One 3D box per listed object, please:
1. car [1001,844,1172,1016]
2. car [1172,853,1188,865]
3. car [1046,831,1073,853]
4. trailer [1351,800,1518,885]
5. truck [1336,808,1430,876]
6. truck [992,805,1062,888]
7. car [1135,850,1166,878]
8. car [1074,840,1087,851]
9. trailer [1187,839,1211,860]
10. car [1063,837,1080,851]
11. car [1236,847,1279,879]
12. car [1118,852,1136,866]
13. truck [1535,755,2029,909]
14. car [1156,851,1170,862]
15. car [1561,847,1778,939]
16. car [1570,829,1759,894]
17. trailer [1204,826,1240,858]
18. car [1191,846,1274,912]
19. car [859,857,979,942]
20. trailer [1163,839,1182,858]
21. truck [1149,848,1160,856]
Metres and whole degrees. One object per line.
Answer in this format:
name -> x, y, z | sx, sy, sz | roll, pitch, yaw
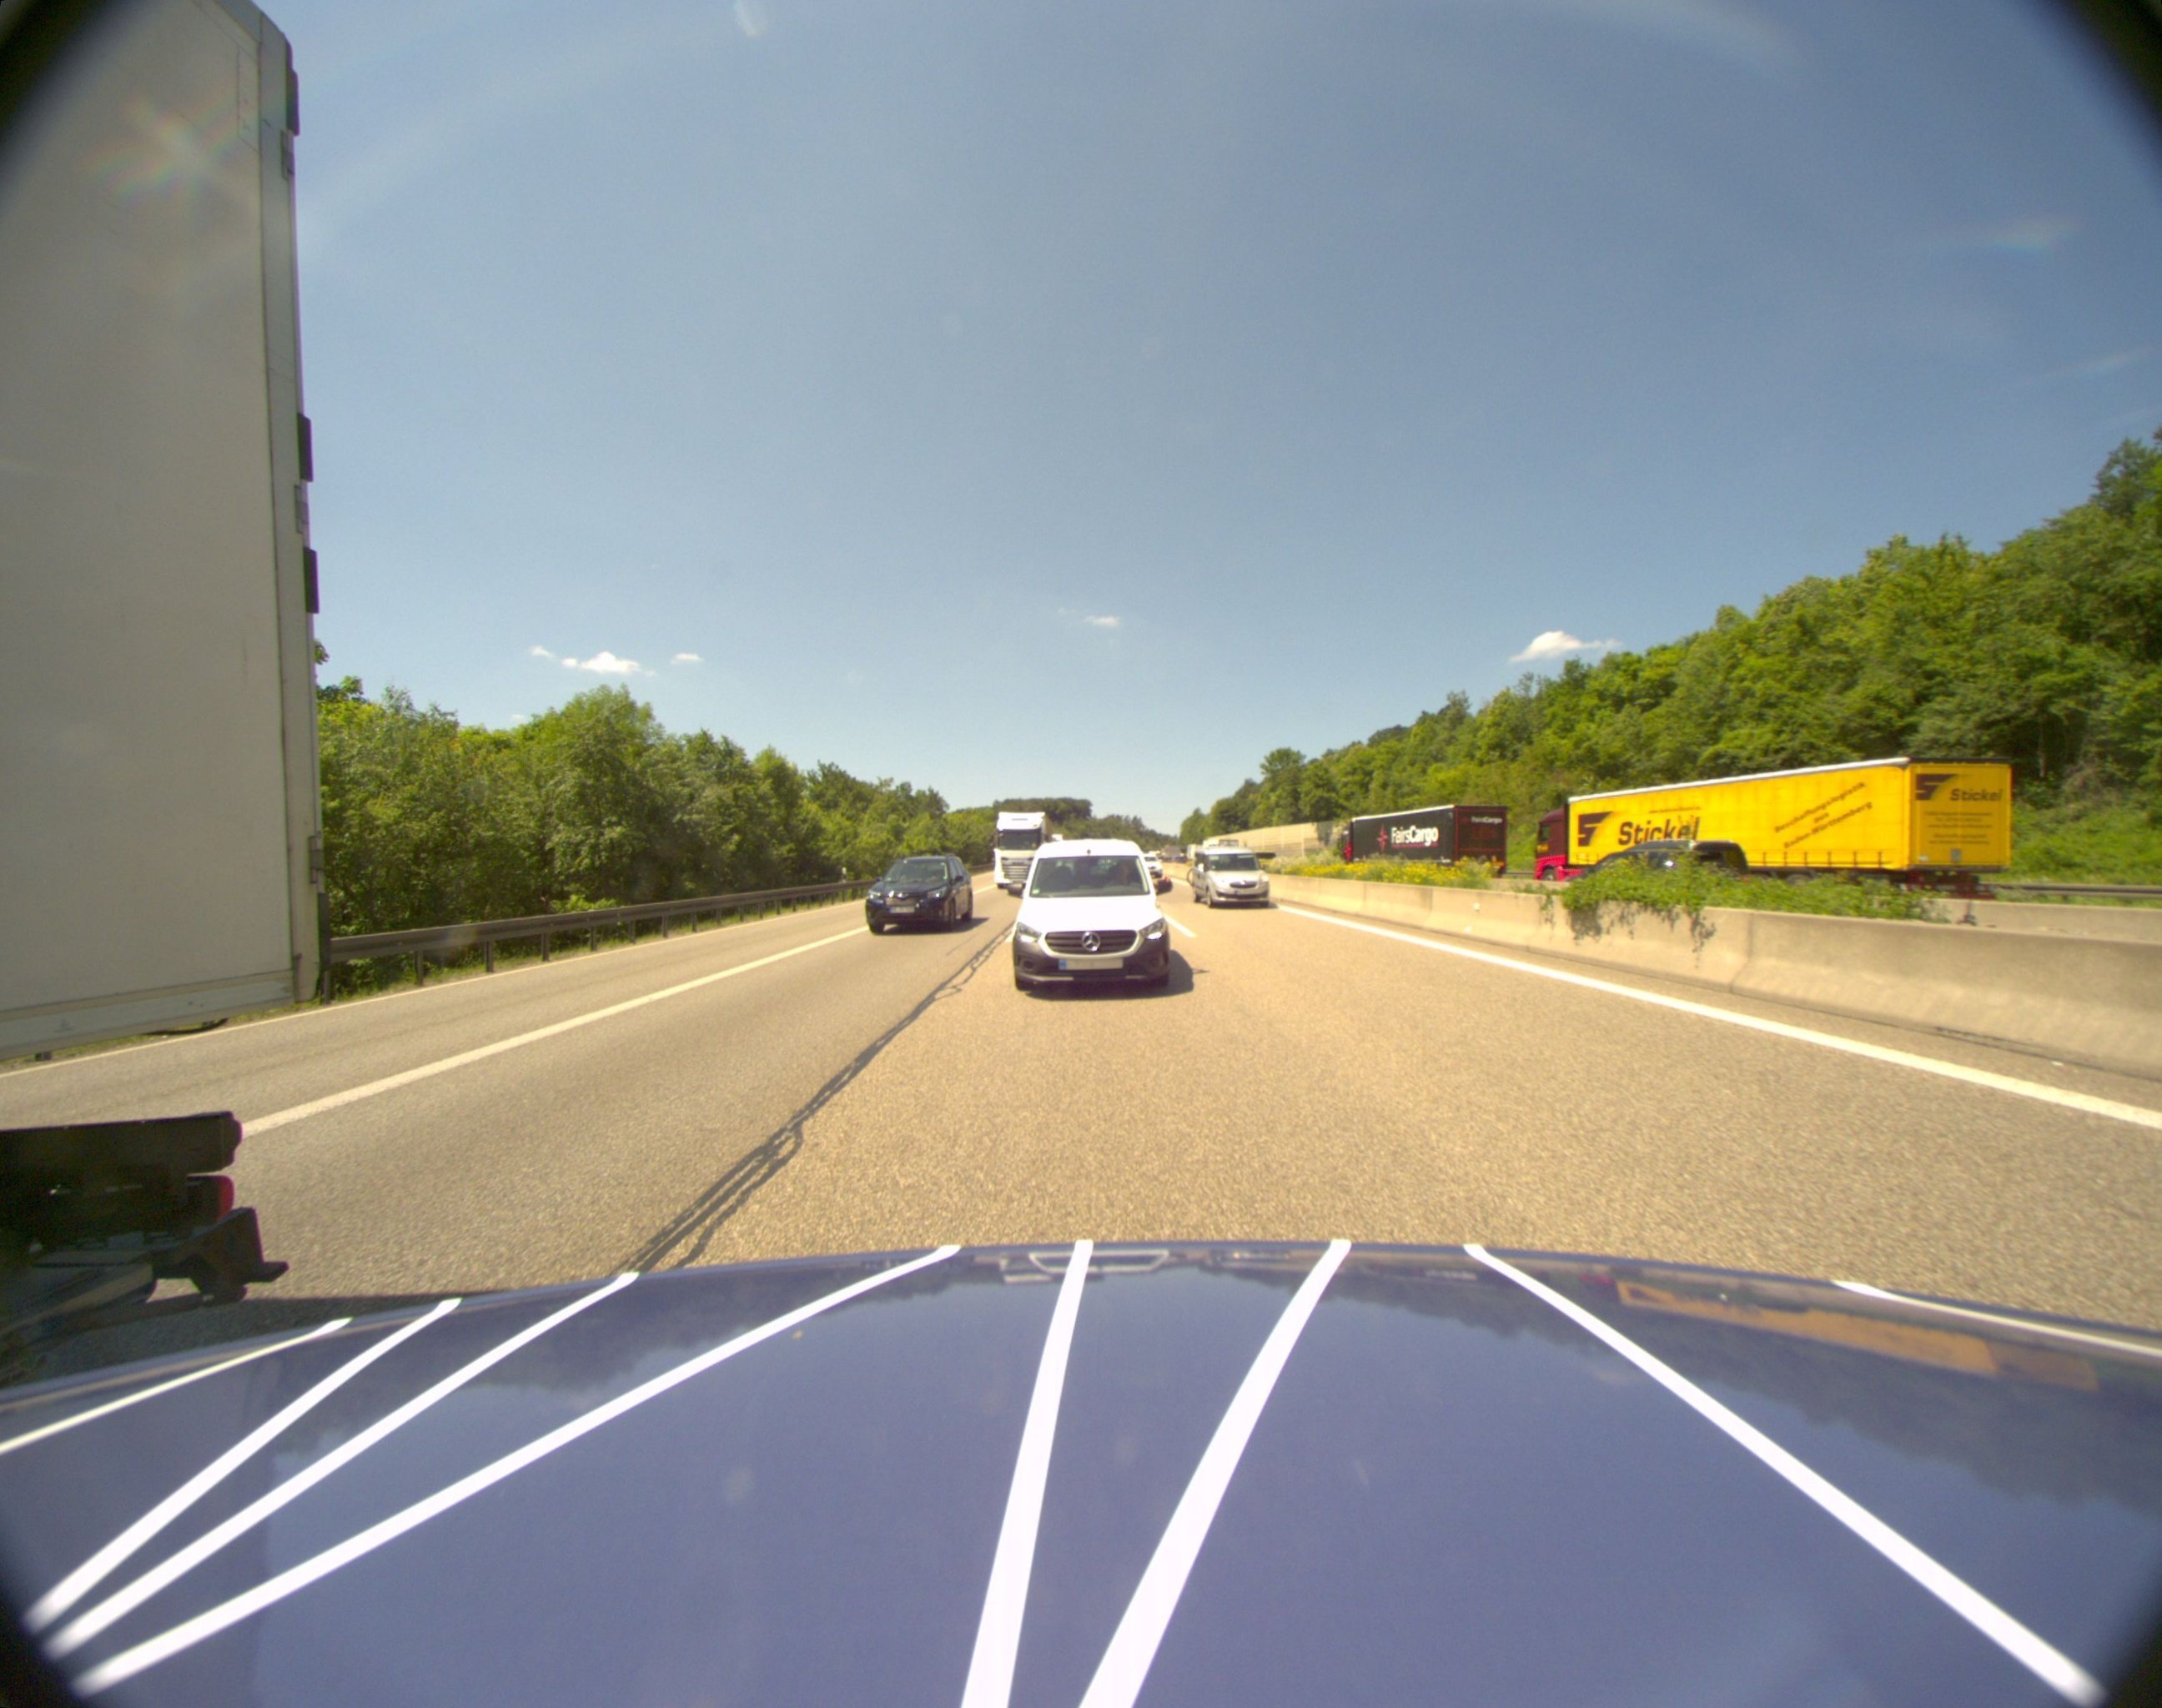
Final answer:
car -> 0.126, 0.785, 10.028 | 1.729, 1.760, 4.313 | -1, 0, 2
car -> 12.710, 0.688, 97.472 | 1.567, 1.510, 4.000 | 0, 0, 0
car -> -2.454, -1.398, 88.747 | 2.721, 2.534, 5.941 | 1, 1, 3
trailer -> 19.095, -0.643, 42.735 | 2.913, 3.951, 13.886 | 1, 1, 0
truck -> 19.162, -0.755, 48.867 | 2.913, 3.951, 7.767 | 1, 1, 0
truck -> -2.967, -0.415, 46.797 | 2.790, 4.144, 16.267 | -1, 0, 1
car -> 4.854, 0.647, 53.396 | 1.998, 1.827, 4.001 | 1, 1, 3
car -> -0.120, -2.041, 181.071 | 2.721, 2.534, 5.941 | 1, 1, 3
trailer -> 24.000, -1.013, 155.393 | 2.814, 4.024, 12.624 | 1, 1, 0
car -> -1.645, -1.845, 140.975 | 2.721, 2.534, 5.941 | 1, 1, 3
car -> 11.938, 0.562, 51.683 | 1.884, 2.002, 4.468 | 2, 1, 1
car -> 5.783, 0.620, 95.263 | 1.998, 1.783, 4.000 | -1, 0, 0
truck -> 22.878, -0.691, 27.681 | 3.045, 3.960, 16.263 | 0, 1, 0
car -> 14.061, 0.454, 130.491 | 1.888, 1.745, 4.787 | -1, 0, 0
car -> 11.752, 0.689, 15.504 | 1.646, 1.618, 3.543 | 1, 1, 1
car -> 15.426, 0.150, 20.463 | 1.689, 1.549, 4.421 | 1, 1, 1
trailer -> 20.075, -1.716, 108.921 | 2.810, 4.313, 14.035 | 0, 1, 1
car -> 4.518, 0.683, 23.245 | 1.780, 1.833, 4.000 | 0, 0, 1
car -> -3.640, 0.954, 17.869 | 1.816, 1.658, 4.203 | -2, 0, 1
trailer -> 21.356, -1.400, 178.546 | 2.842, 4.141, 14.737 | 1, 1, 1
truck -> 25.047, -0.810, 258.999 | 2.534, 2.673, 11.626 | 1, 1, 1
